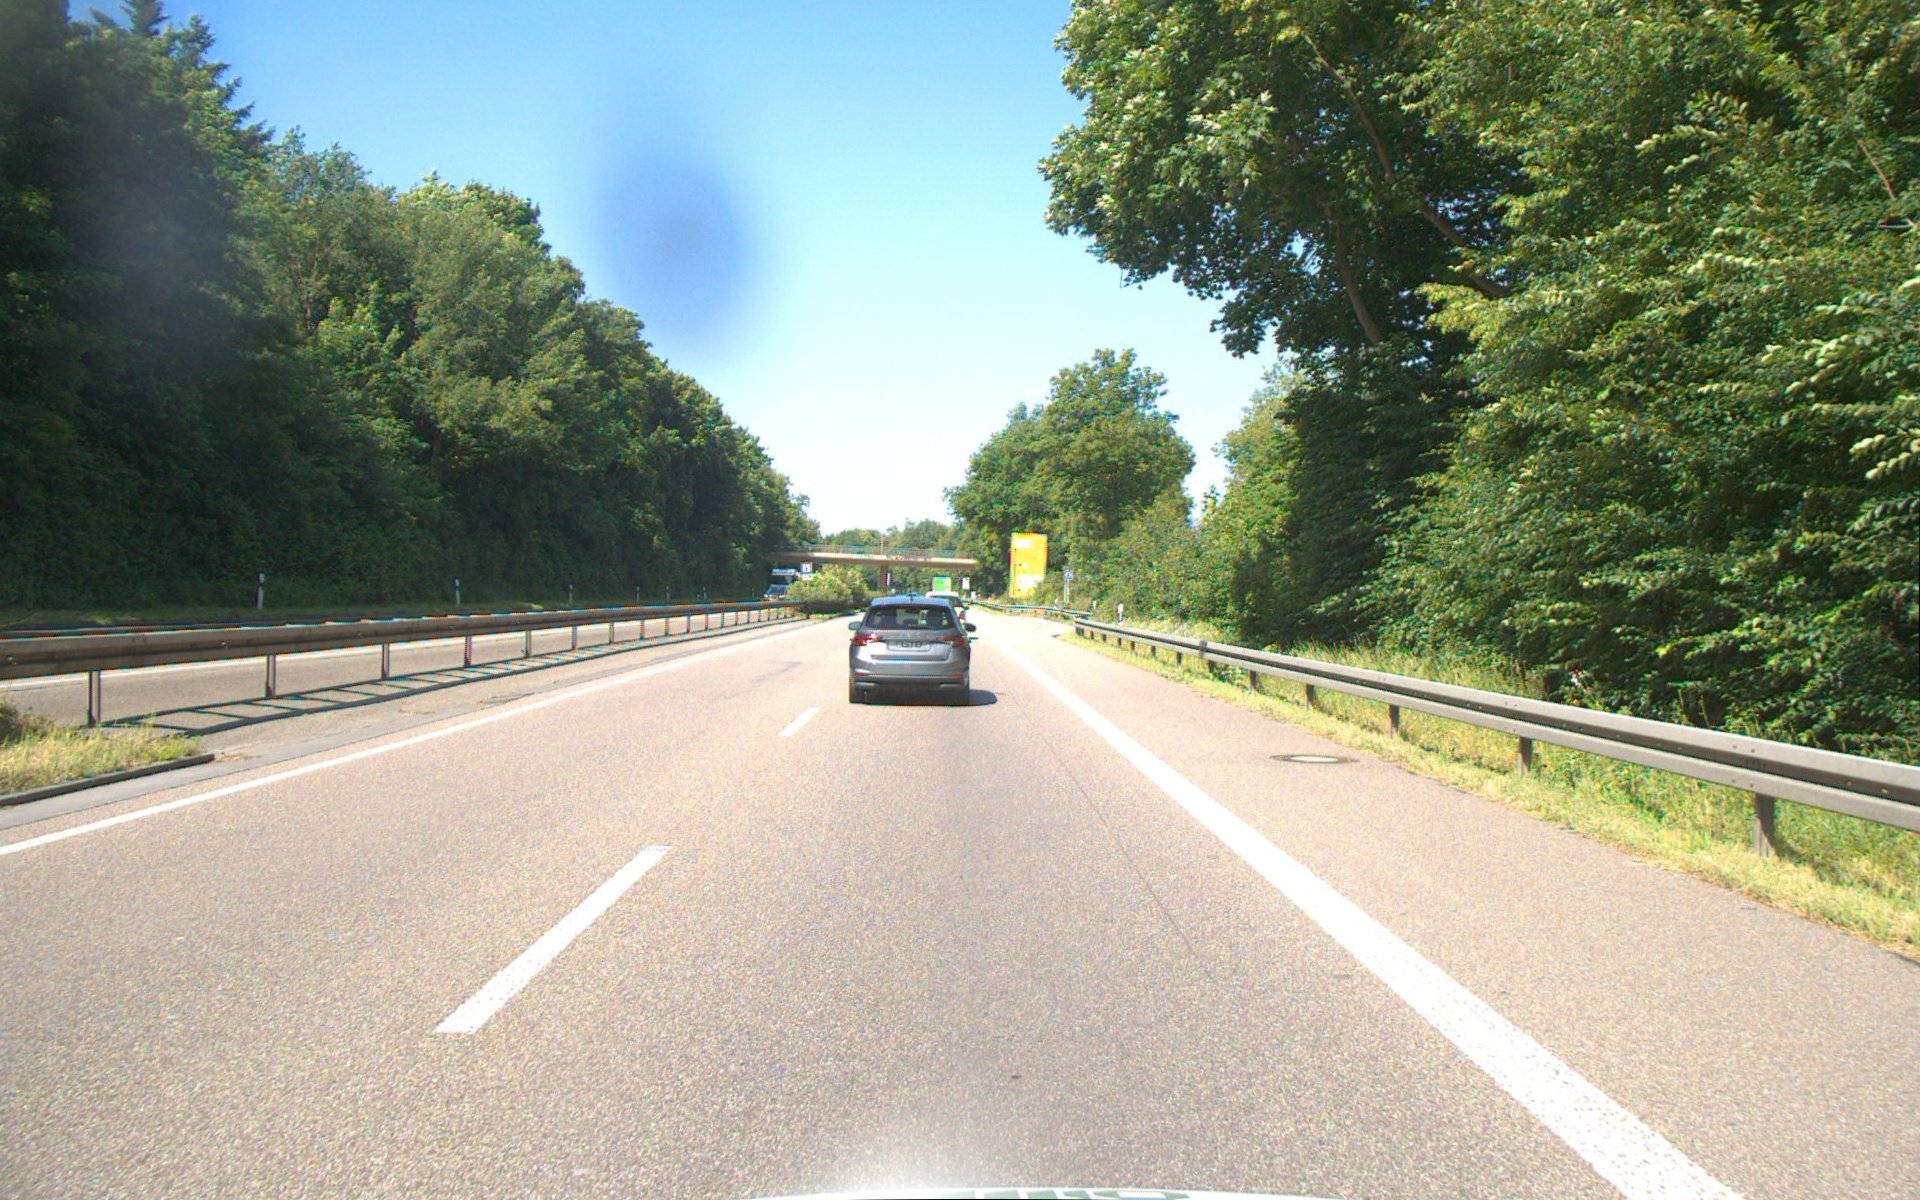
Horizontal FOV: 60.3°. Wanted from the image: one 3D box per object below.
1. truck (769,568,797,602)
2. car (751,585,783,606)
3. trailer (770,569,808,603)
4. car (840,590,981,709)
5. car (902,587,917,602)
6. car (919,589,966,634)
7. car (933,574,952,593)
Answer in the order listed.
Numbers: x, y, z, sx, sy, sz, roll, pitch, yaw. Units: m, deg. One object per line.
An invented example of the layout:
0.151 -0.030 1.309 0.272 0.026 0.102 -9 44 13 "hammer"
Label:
-17.569 -1.447 164.324 2.375 3.315 4.000 1 0 -1 "truck"
-14.877 -0.364 127.843 1.804 1.536 4.552 1 0 2 "car"
-17.619 -1.431 171.336 2.442 3.292 14.430 1 0 0 "trailer"
-0.619 0.634 23.422 1.802 1.497 3.624 1 1 1 "car"
-6.931 -0.755 228.921 1.953 2.049 3.999 1 0 -1 "car"
-0.581 0.380 56.755 1.491 1.472 3.340 1 1 1 "car"
-2.577 -2.396 241.640 2.693 2.700 3.999 1 0 -1 "car"
